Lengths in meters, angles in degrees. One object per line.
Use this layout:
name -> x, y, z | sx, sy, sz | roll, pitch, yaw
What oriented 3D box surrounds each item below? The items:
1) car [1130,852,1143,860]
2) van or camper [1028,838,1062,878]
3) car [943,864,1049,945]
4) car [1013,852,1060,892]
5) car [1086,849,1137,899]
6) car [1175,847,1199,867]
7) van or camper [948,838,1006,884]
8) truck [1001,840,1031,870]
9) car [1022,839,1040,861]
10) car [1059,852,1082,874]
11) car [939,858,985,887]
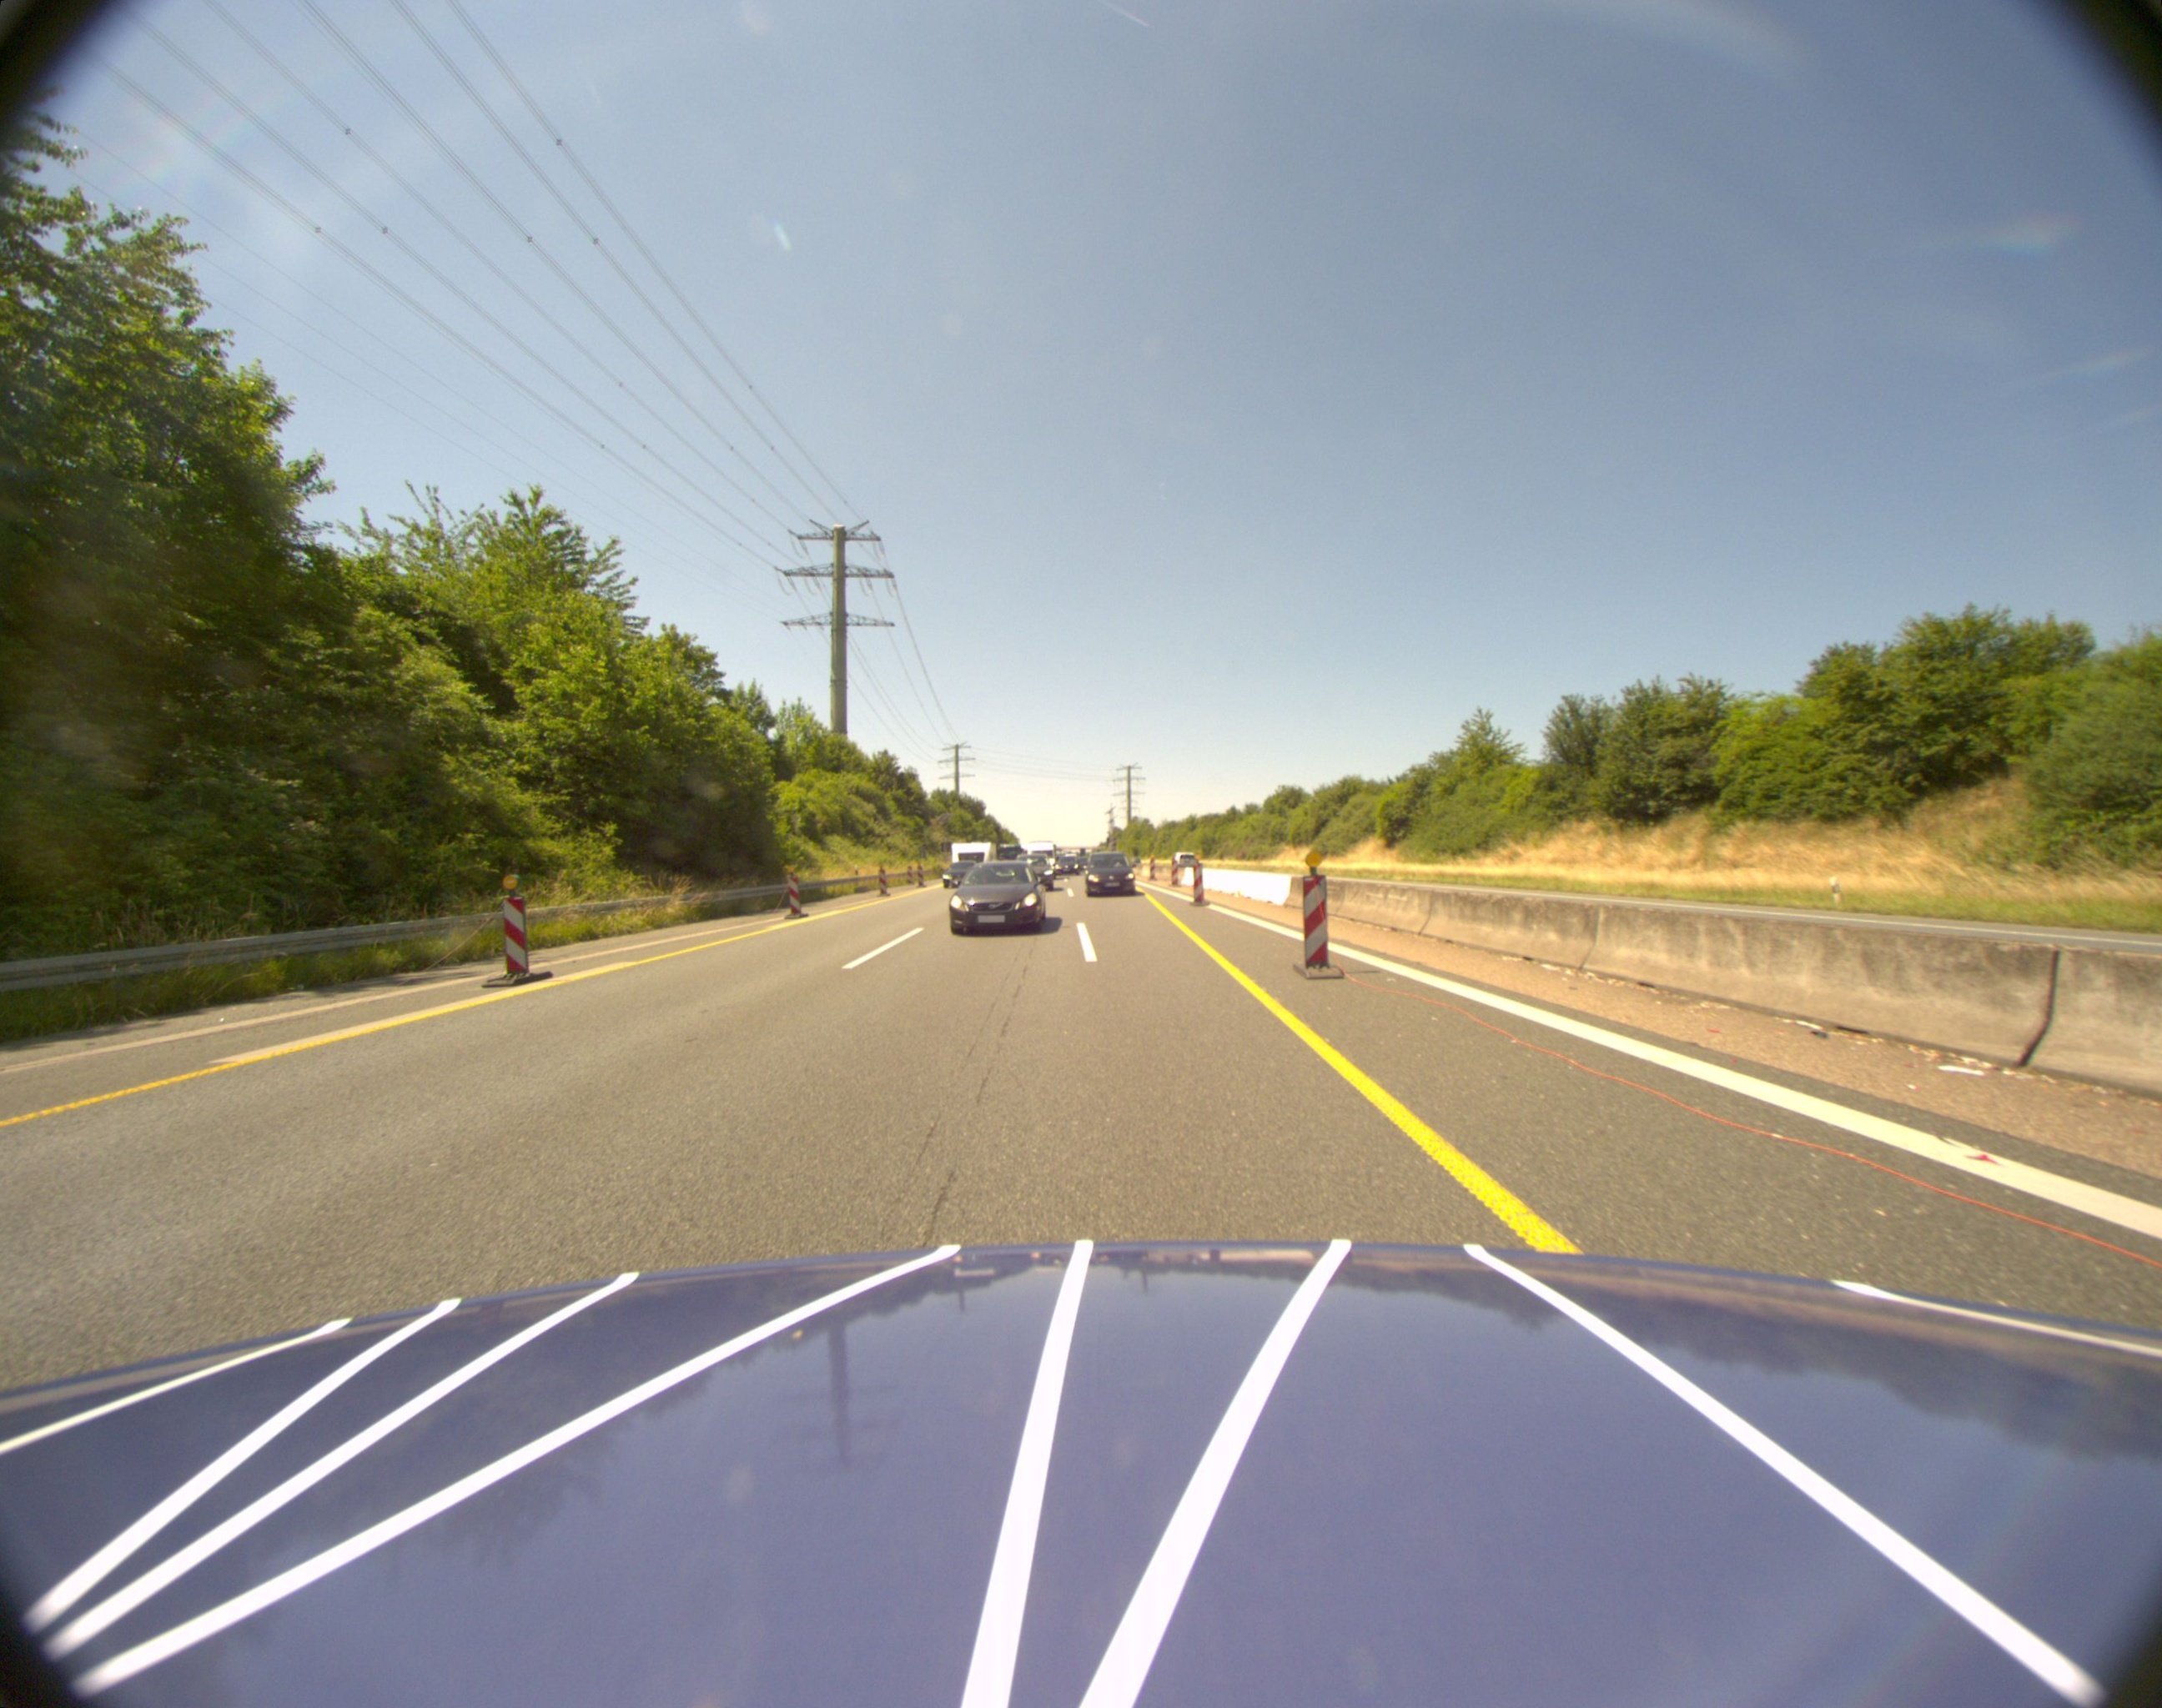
car -> 9.855, 0.351, 134.858 | 1.895, 1.508, 3.479 | -2, 0, -3
van or camper -> -2.421, 0.238, 52.029 | 1.998, 2.604, 5.629 | 0, 0, 1
car -> -1.699, 0.988, 16.452 | 1.799, 1.433, 4.000 | -2, 0, 0
car -> -1.954, 0.749, 34.314 | 1.744, 1.658, 4.157 | -2, 0, 1
car -> 1.095, 0.686, 28.448 | 1.675, 1.619, 4.690 | -3, 0, 1
car -> 11.639, 0.260, 83.761 | 1.968, 2.073, 4.937 | 0, 1, 0
van or camper -> -6.382, 0.391, 47.837 | 2.432, 2.549, 8.416 | -2, 0, 0
truck -> -7.539, 0.107, 88.732 | 2.431, 3.122, 7.647 | -4, 0, 1
car -> -9.113, -0.793, 139.991 | 2.397, 3.779, 10.272 | -2, 0, 0
car -> -0.863, 0.664, 59.694 | 1.745, 1.658, 4.156 | -2, 0, -2
car -> -6.432, 0.988, 41.489 | 1.801, 1.399, 4.209 | -2, 0, 0
